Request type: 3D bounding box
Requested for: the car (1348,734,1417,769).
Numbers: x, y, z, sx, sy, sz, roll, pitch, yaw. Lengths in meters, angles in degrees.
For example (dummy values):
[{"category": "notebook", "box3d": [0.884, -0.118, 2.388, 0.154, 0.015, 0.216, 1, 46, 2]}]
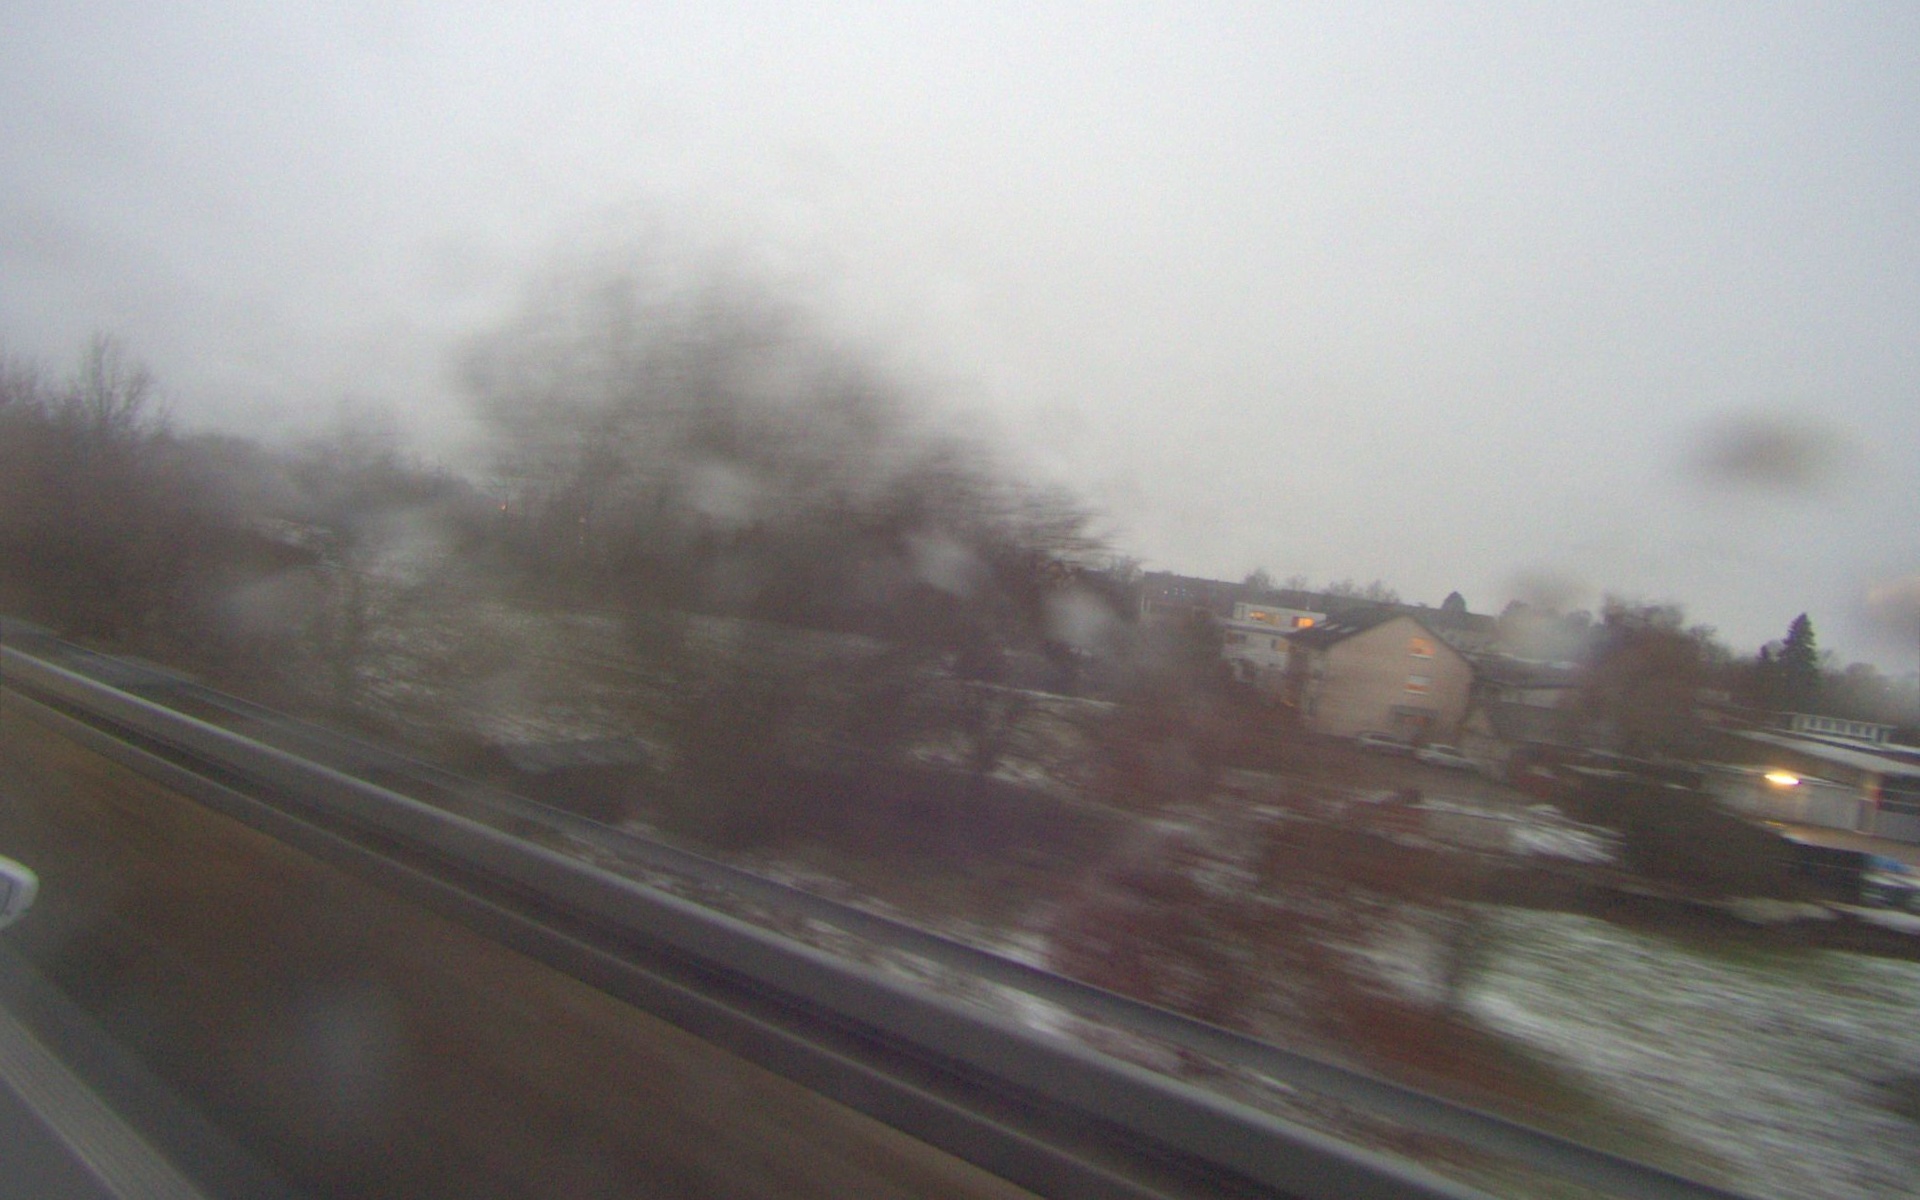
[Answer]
[{"category": "car", "box3d": [29.831, 10.679, 71.121, 3.924, 1.748, 2.002, 7, -1, 7]}]
